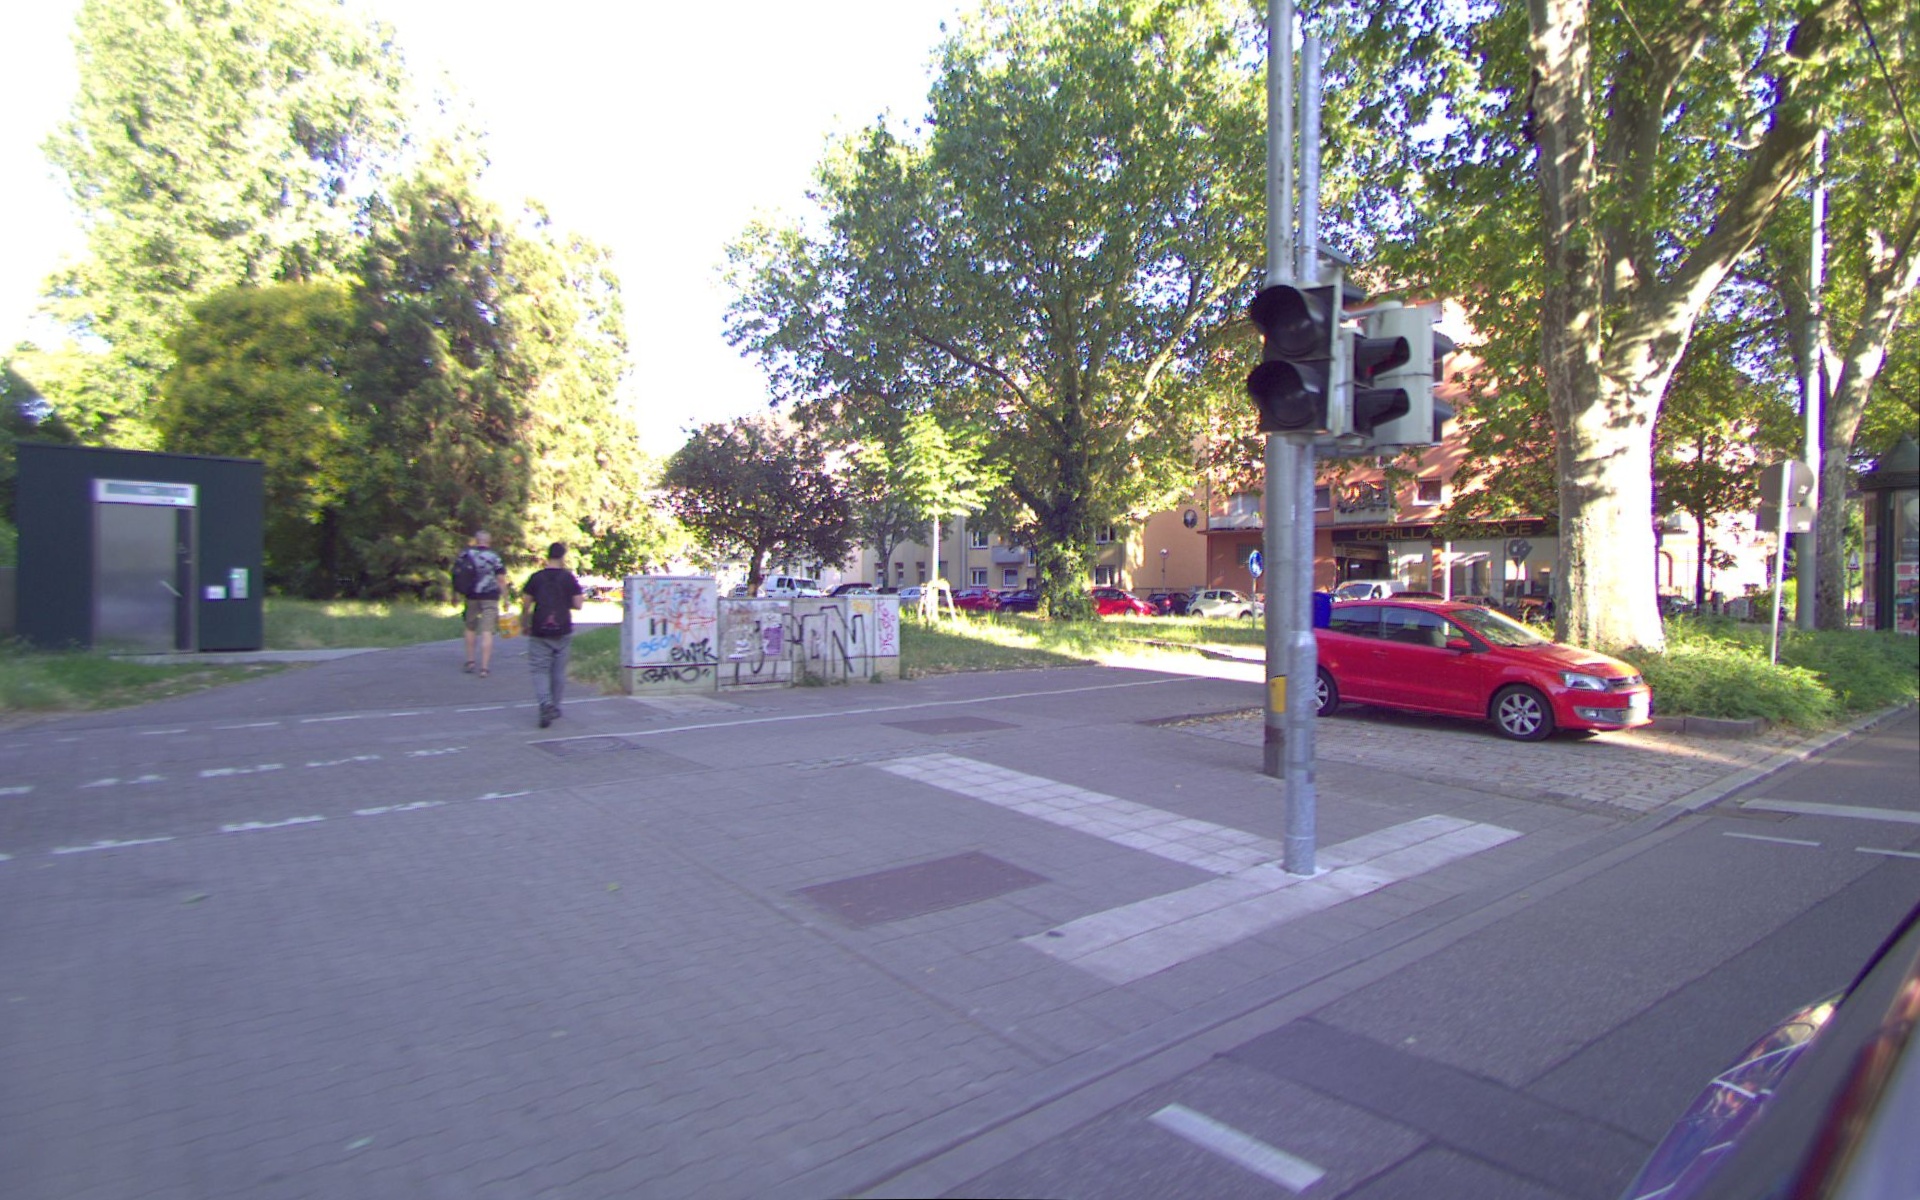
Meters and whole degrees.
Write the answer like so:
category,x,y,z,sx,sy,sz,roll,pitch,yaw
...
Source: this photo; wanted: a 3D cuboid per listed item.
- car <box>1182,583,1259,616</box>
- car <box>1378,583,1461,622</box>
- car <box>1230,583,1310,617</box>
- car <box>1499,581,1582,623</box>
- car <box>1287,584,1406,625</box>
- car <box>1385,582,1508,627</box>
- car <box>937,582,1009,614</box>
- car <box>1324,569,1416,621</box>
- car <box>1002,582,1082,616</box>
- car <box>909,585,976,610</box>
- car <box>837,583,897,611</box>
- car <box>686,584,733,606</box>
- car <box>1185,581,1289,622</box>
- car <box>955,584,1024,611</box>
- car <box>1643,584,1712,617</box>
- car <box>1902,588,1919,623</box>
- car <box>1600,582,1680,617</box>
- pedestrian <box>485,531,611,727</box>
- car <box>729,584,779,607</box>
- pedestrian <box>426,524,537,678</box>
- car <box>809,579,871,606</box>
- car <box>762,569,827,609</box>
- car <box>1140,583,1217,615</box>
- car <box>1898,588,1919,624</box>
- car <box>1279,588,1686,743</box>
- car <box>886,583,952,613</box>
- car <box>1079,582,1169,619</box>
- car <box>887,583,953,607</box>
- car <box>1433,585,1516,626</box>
category,x,y,z,sx,sy,sz,roll,pitch,yaw
car,13.398,-0.051,51.905,4.502,1.594,1.790,0,1,-44
car,20.076,0.094,44.154,4.502,1.594,1.790,0,1,-44
car,15.202,-0.027,49.565,4.502,1.594,1.790,0,1,-44
car,23.230,0.048,40.421,1.790,1.594,4.504,1,1,44
car,14.666,0.135,38.572,1.654,1.470,3.924,0,1,-41
car,16.966,0.116,35.388,1.654,1.470,3.543,0,1,-41
car,0.651,-0.127,53.963,1.654,1.601,3.924,0,1,-41
car,18.582,-0.236,45.734,4.999,2.211,1.914,0,1,-43
car,3.999,-0.084,49.863,1.654,1.601,3.924,0,1,-41
car,-1.126,-0.206,67.949,4.502,1.594,1.790,0,1,-44
car,-5.658,-0.201,61.284,1.654,1.601,3.924,0,1,-41
car,-18.844,-0.407,75.969,1.769,1.529,3.993,0,1,-41
car,11.488,0.032,42.179,1.654,1.601,3.924,0,1,-41
car,1.892,-0.176,64.228,4.502,1.594,1.790,0,1,-44
car,34.118,0.007,48.081,3.880,1.452,1.752,0,1,-40
car,45.096,0.280,45.011,1.916,1.562,4.416,0,1,-37
car,29.721,-0.043,44.197,4.388,1.452,1.752,0,1,-40
pedestrian,-4.131,0.257,10.135,0.850,1.834,0.995,0,1,-45
car,-14.598,-0.362,71.607,1.769,1.529,3.993,0,1,-41
pedestrian,-6.249,-0.017,13.210,0.983,1.886,0.999,5,4,45
car,-9.002,-0.587,76.054,4.502,1.931,1.790,0,1,-44
car,-11.079,-0.766,67.429,1.942,2.594,5.037,0,1,-41
car,11.582,-0.066,53.438,4.502,1.594,1.790,0,1,-44
car,43.330,0.303,43.281,1.782,1.562,4.420,0,1,-32
car,5.852,0.605,11.752,1.618,1.441,3.897,0,1,-36
car,-2.341,-0.162,57.152,1.654,1.601,3.924,0,1,-41
car,7.492,-0.012,46.506,1.654,1.601,3.924,0,1,-41
car,-2.706,-0.359,69.511,4.502,1.594,1.790,0,1,-44
car,21.213,0.187,41.619,1.790,1.594,4.504,1,1,44
